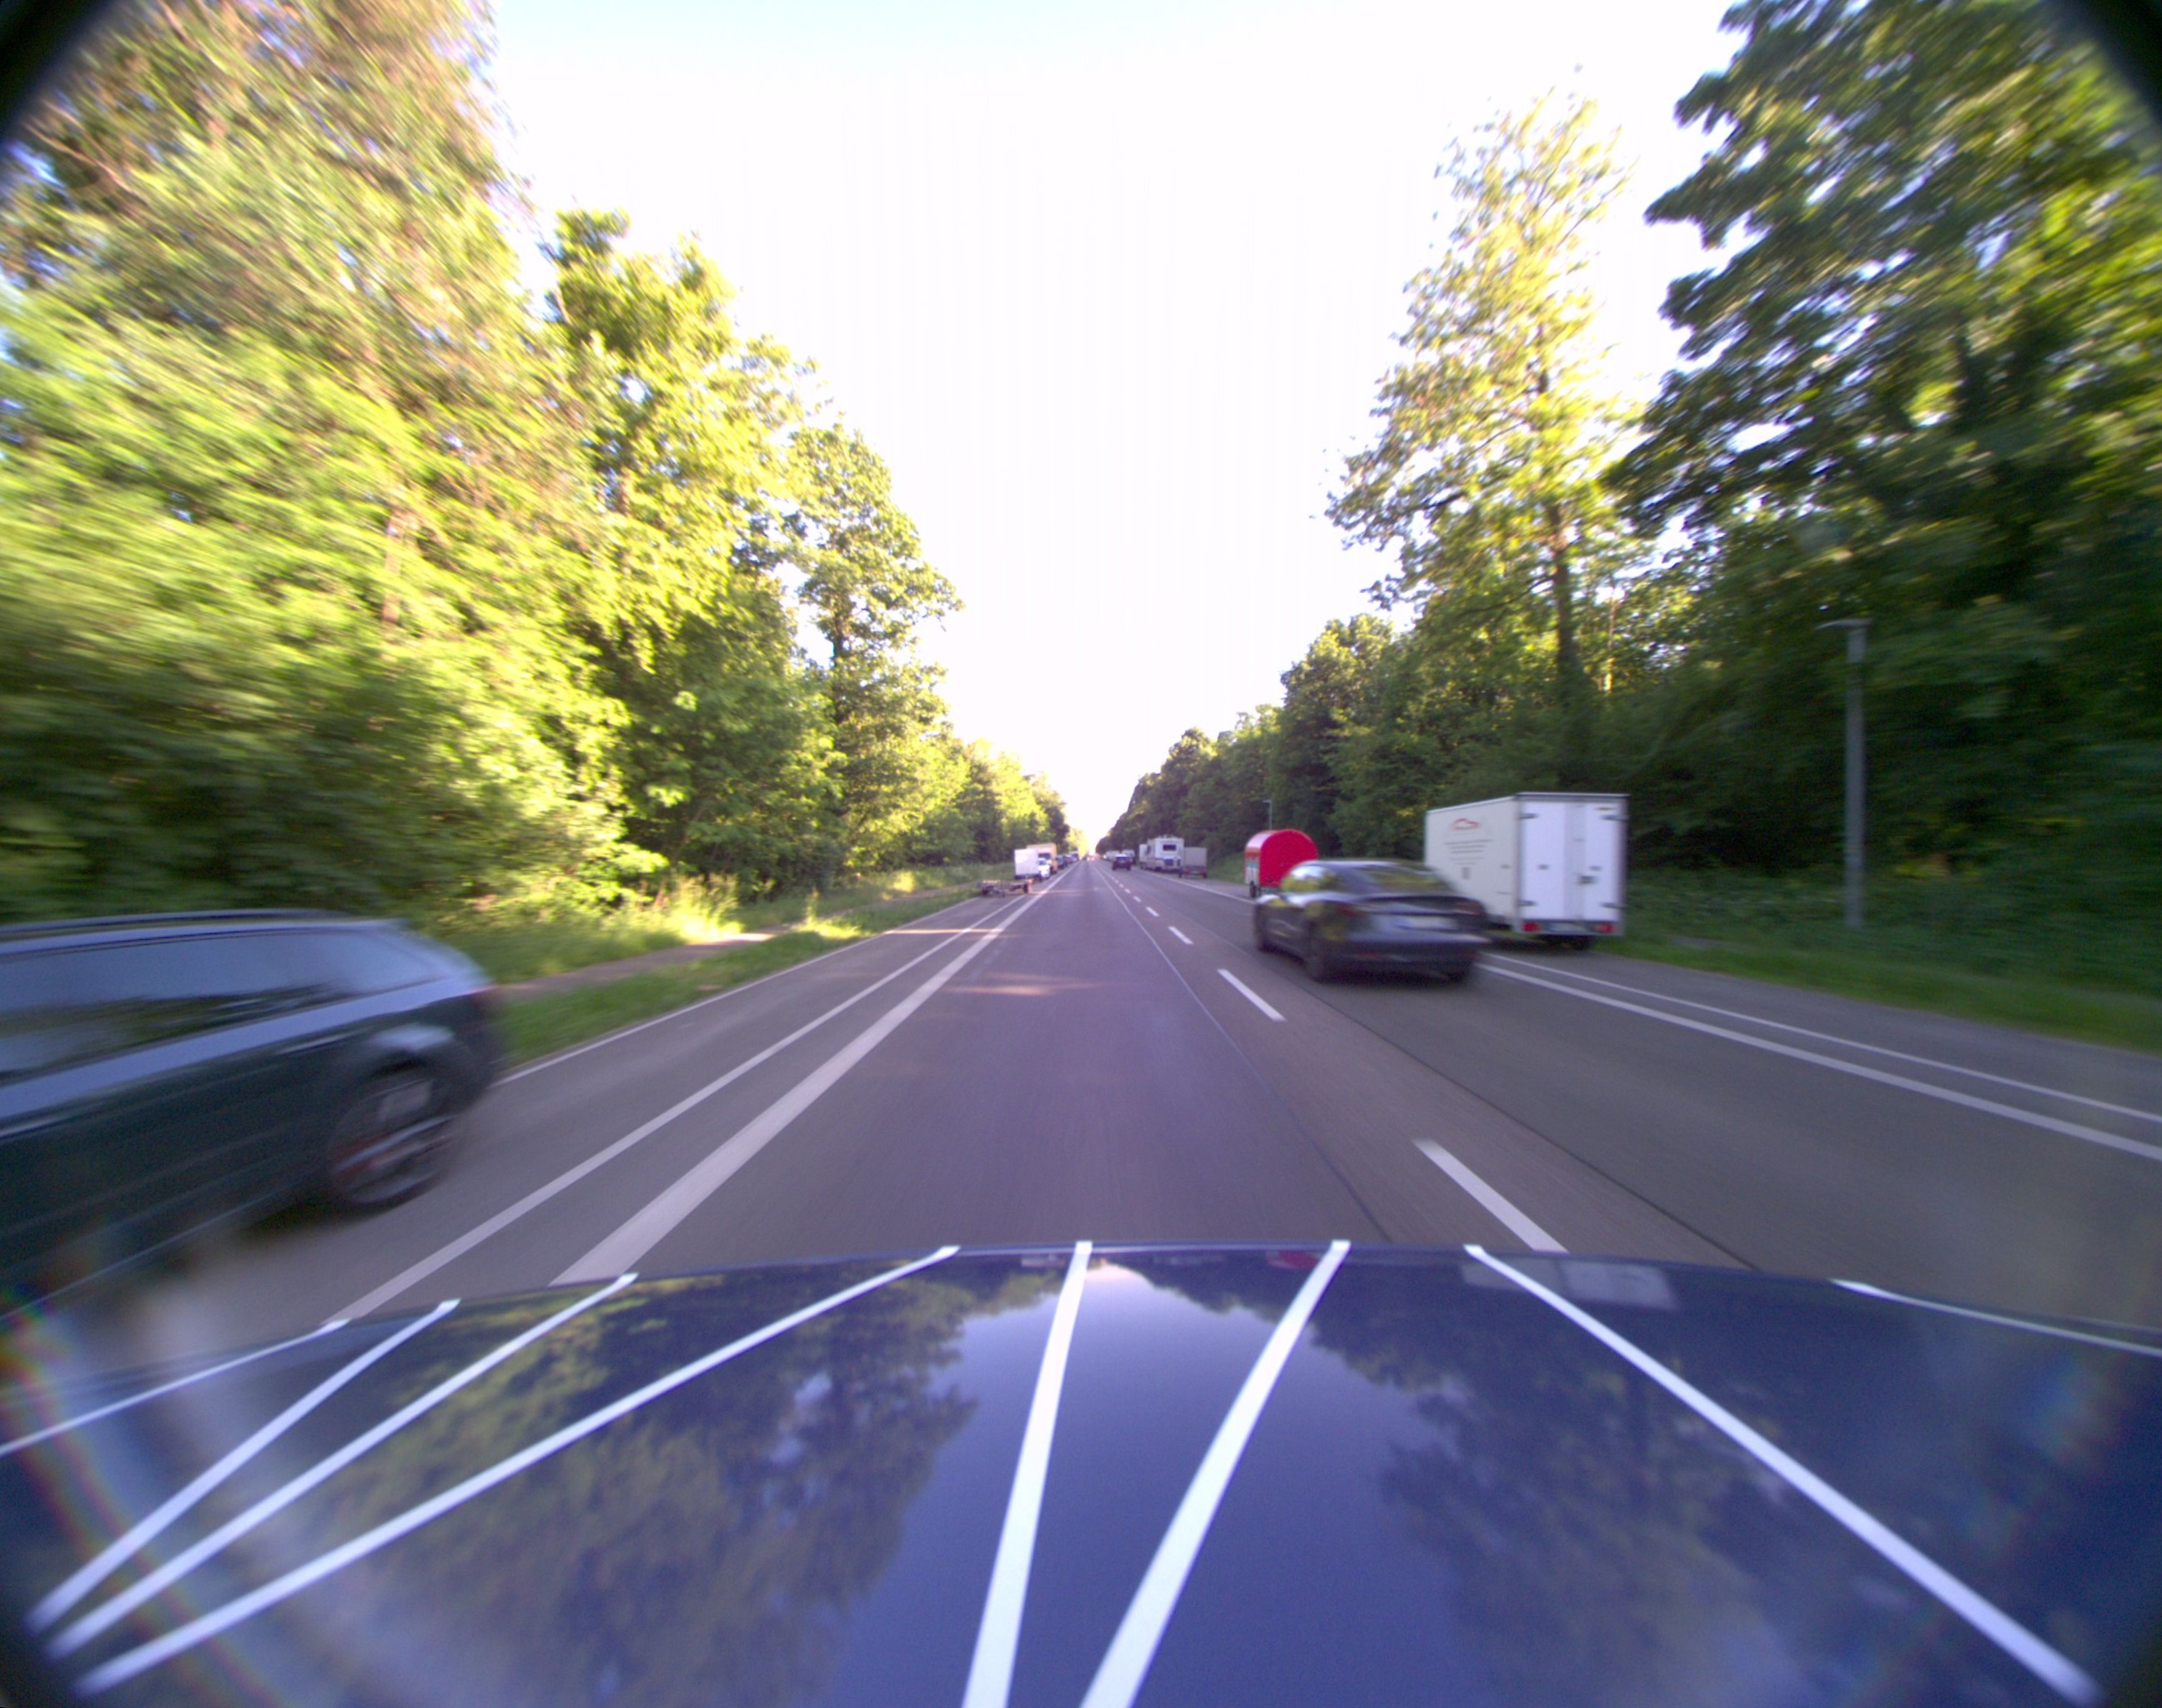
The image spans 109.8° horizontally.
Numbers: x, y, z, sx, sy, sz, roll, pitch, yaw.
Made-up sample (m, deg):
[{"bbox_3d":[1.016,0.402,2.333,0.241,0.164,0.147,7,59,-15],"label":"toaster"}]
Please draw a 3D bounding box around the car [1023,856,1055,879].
[{"bbox_3d":[-2.937,0.908,53.790,1.892,1.459,4.569,-2,0,0],"label":"car"}]

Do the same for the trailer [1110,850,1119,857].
[{"bbox_3d":[8.876,-0.256,200.738,1.998,1.776,3.999,-2,1,0],"label":"trailer"}]

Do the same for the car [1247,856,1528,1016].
[{"bbox_3d":[3.536,0.820,9.811,1.824,1.524,4.530,0,1,0],"label":"car"}]

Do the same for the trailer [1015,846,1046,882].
[{"bbox_3d":[-3.147,0.595,47.851,1.759,2.149,3.539,-1,0,-1],"label":"trailer"}]

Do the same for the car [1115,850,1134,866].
[{"bbox_3d":[4.489,0.411,79.067,1.823,1.577,4.459,0,1,1],"label":"car"}]

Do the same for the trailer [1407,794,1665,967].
[{"bbox_3d":[7.304,0.368,12.692,2.072,2.466,3.560,0,0,-3],"label":"trailer"}]

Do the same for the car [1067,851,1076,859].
[{"bbox_3d":[-2.061,0.154,161.636,1.837,1.608,4.000,-2,0,0],"label":"car"}]

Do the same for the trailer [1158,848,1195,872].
[{"bbox_3d":[8.138,0.484,65.620,2.434,1.903,6.263,-2,0,0],"label":"trailer"}]

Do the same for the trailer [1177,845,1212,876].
[{"bbox_3d":[7.733,0.412,51.930,1.857,2.002,3.561,2,0,1],"label":"trailer"}]

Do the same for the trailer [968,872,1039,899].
[{"bbox_3d":[-3.251,1.328,33.094,2.439,0.794,5.659,-2,1,1],"label":"trailer"}]

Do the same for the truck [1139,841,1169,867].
[{"bbox_3d":[8.141,-0.011,85.649,2.489,2.807,8.424,-2,0,1],"label":"truck"}]

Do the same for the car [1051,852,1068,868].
[{"bbox_3d":[-2.557,0.707,89.719,1.804,1.681,4.601,-2,1,0],"label":"car"}]

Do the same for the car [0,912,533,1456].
[{"bbox_3d":[-4.095,1.102,2.116,1.839,1.412,4.596,-4,0,-2],"label":"car"}]

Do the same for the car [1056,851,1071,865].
[{"bbox_3d":[-2.593,0.577,113.213,1.998,1.888,5.473,-2,0,0],"label":"car"}]

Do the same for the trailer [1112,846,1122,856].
[{"bbox_3d":[8.458,-0.728,178.868,1.998,2.227,3.999,-2,1,0],"label":"trailer"}]

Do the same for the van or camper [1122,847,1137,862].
[{"bbox_3d":[8.566,0.036,134.108,2.253,2.599,5.984,-1,0,0],"label":"van or camper"}]

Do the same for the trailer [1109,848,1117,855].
[{"bbox_3d":[9.827,-0.853,234.086,2.306,1.972,3.999,-2,1,0],"label":"trailer"}]

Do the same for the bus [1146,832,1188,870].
[{"bbox_3d":[8.286,-0.330,74.377,2.835,3.411,11.199,-2,1,1],"label":"bus"}]

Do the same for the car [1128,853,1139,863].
[{"bbox_3d":[8.437,0.597,121.822,1.787,1.485,4.001,0,0,5],"label":"car"}]

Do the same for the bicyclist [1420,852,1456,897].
[{"bbox_3d":[11.218,0.622,23.887,0.672,1.356,0.905,-2,1,1],"label":"bicyclist"}]

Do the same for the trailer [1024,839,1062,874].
[{"bbox_3d":[-3.410,0.191,70.573,2.928,2.825,9.881,-4,1,0],"label":"trailer"}]

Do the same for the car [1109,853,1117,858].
[{"bbox_3d":[9.542,0.474,226.897,1.998,1.620,4.144,-2,0,0],"label":"car"}]

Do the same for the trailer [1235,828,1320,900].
[{"bbox_3d":[7.172,0.328,28.090,2.072,2.466,3.560,0,0,-3],"label":"trailer"}]

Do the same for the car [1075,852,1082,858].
[{"bbox_3d":[-0.590,0.232,204.991,1.837,1.608,4.000,-2,0,0],"label":"car"}]
